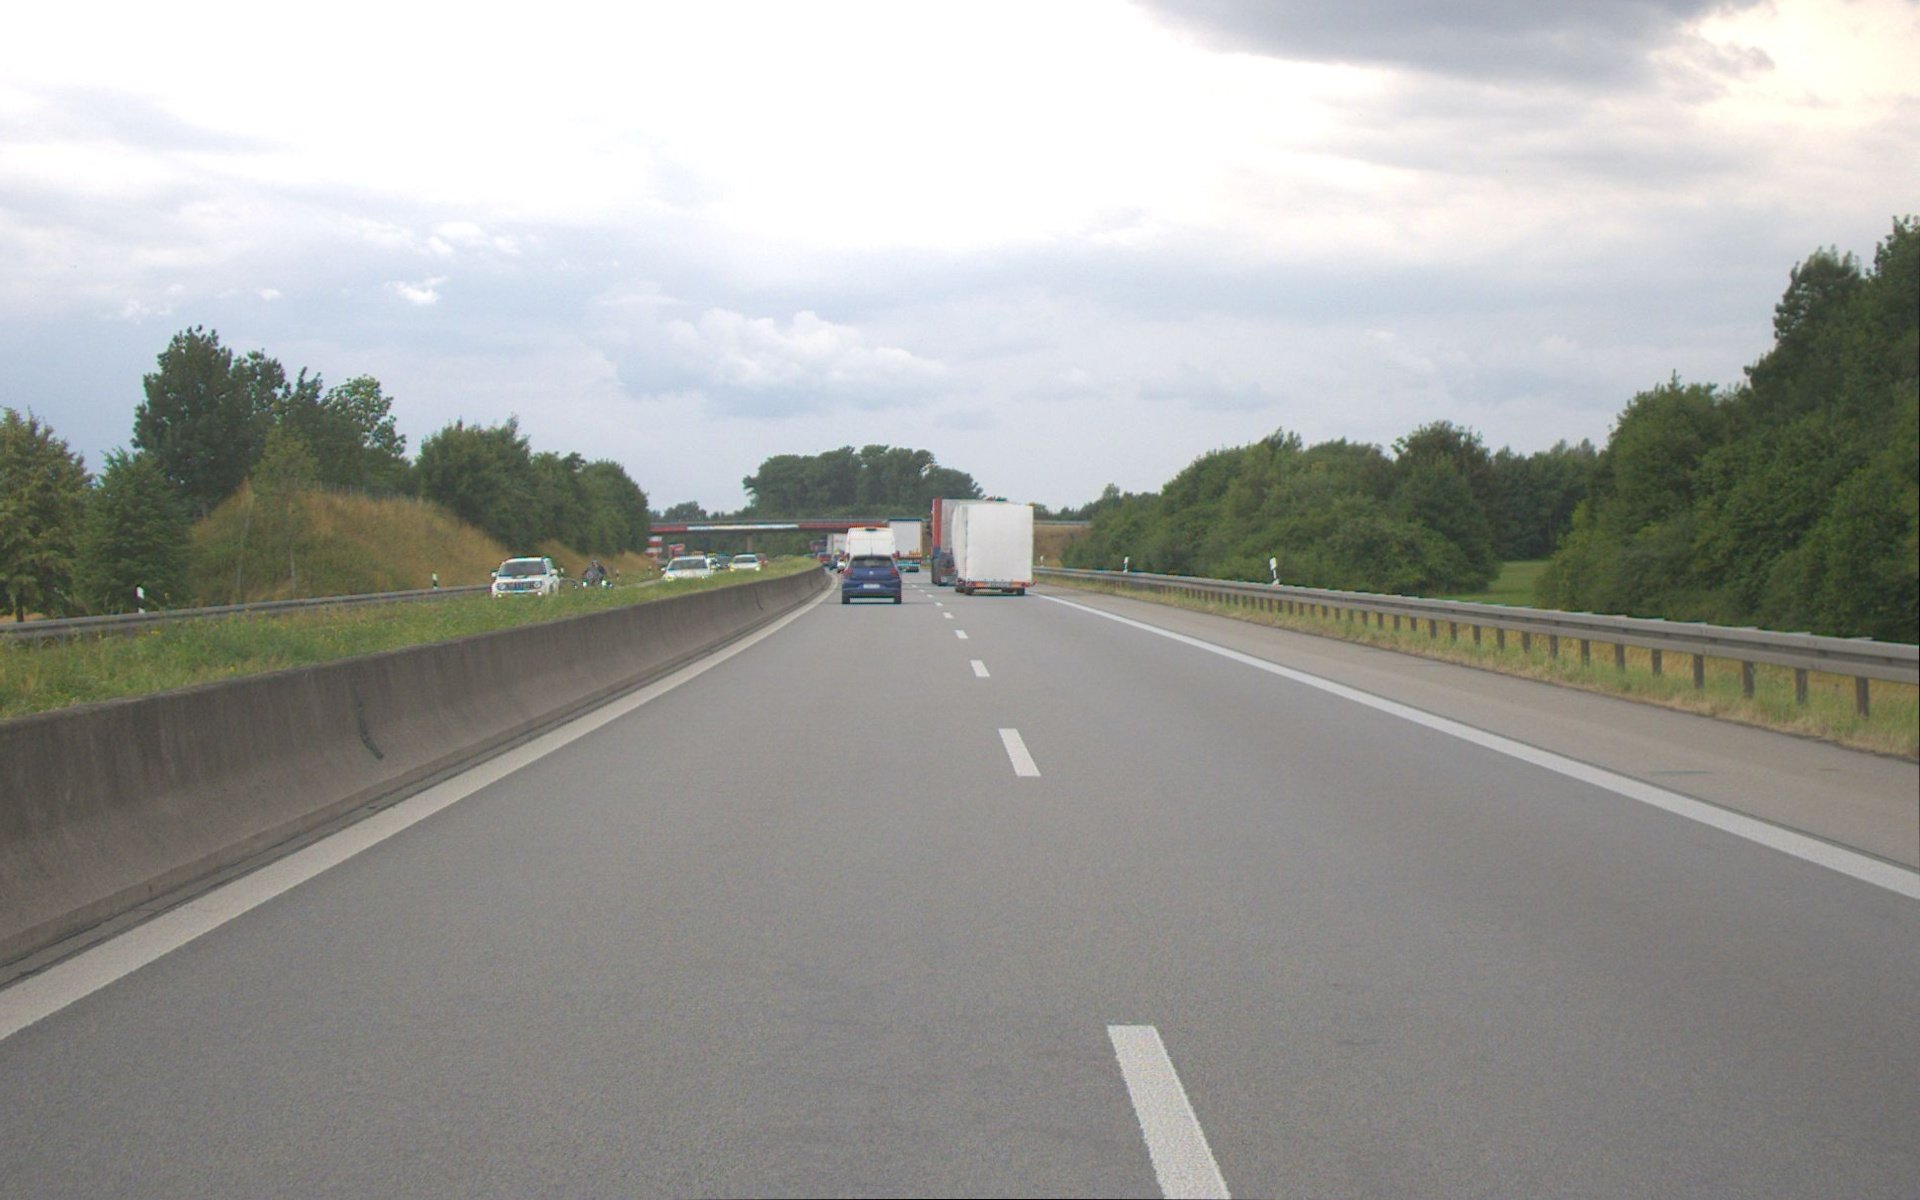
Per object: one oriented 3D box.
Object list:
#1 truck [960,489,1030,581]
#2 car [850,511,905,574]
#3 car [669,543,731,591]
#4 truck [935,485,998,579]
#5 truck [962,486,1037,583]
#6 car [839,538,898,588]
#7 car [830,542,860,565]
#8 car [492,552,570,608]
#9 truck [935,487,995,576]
[{"bbox_3d":[1.230,-2.332,125.055,2.429,3.232,7.247,0,1,0],"label":"truck"},{"bbox_3d":[-3.350,-2.319,138.961,2.130,2.474,5.840,-1,1,-1],"label":"car"},{"bbox_3d":[-9.691,-1.253,128.470,1.947,1.688,5.175,-2,1,-1],"label":"car"},{"bbox_3d":[0.258,-3.074,155.002,2.673,4.032,11.108,-1,1,0],"label":"truck"},{"bbox_3d":[1.307,-2.205,117.870,2.415,3.211,7.144,0,1,0],"label":"truck"},{"bbox_3d":[-2.647,-1.059,98.523,1.663,1.402,3.649,0,1,-2],"label":"car"},{"bbox_3d":[-8.326,-3.388,249.296,1.993,1.678,4.001,0,1,-5],"label":"car"},{"bbox_3d":[-13.150,-0.637,105.652,1.836,1.621,4.691,-2,1,-1],"label":"car"},{"bbox_3d":[0.226,-3.192,160.415,2.673,4.032,5.513,-1,1,0],"label":"truck"}]
